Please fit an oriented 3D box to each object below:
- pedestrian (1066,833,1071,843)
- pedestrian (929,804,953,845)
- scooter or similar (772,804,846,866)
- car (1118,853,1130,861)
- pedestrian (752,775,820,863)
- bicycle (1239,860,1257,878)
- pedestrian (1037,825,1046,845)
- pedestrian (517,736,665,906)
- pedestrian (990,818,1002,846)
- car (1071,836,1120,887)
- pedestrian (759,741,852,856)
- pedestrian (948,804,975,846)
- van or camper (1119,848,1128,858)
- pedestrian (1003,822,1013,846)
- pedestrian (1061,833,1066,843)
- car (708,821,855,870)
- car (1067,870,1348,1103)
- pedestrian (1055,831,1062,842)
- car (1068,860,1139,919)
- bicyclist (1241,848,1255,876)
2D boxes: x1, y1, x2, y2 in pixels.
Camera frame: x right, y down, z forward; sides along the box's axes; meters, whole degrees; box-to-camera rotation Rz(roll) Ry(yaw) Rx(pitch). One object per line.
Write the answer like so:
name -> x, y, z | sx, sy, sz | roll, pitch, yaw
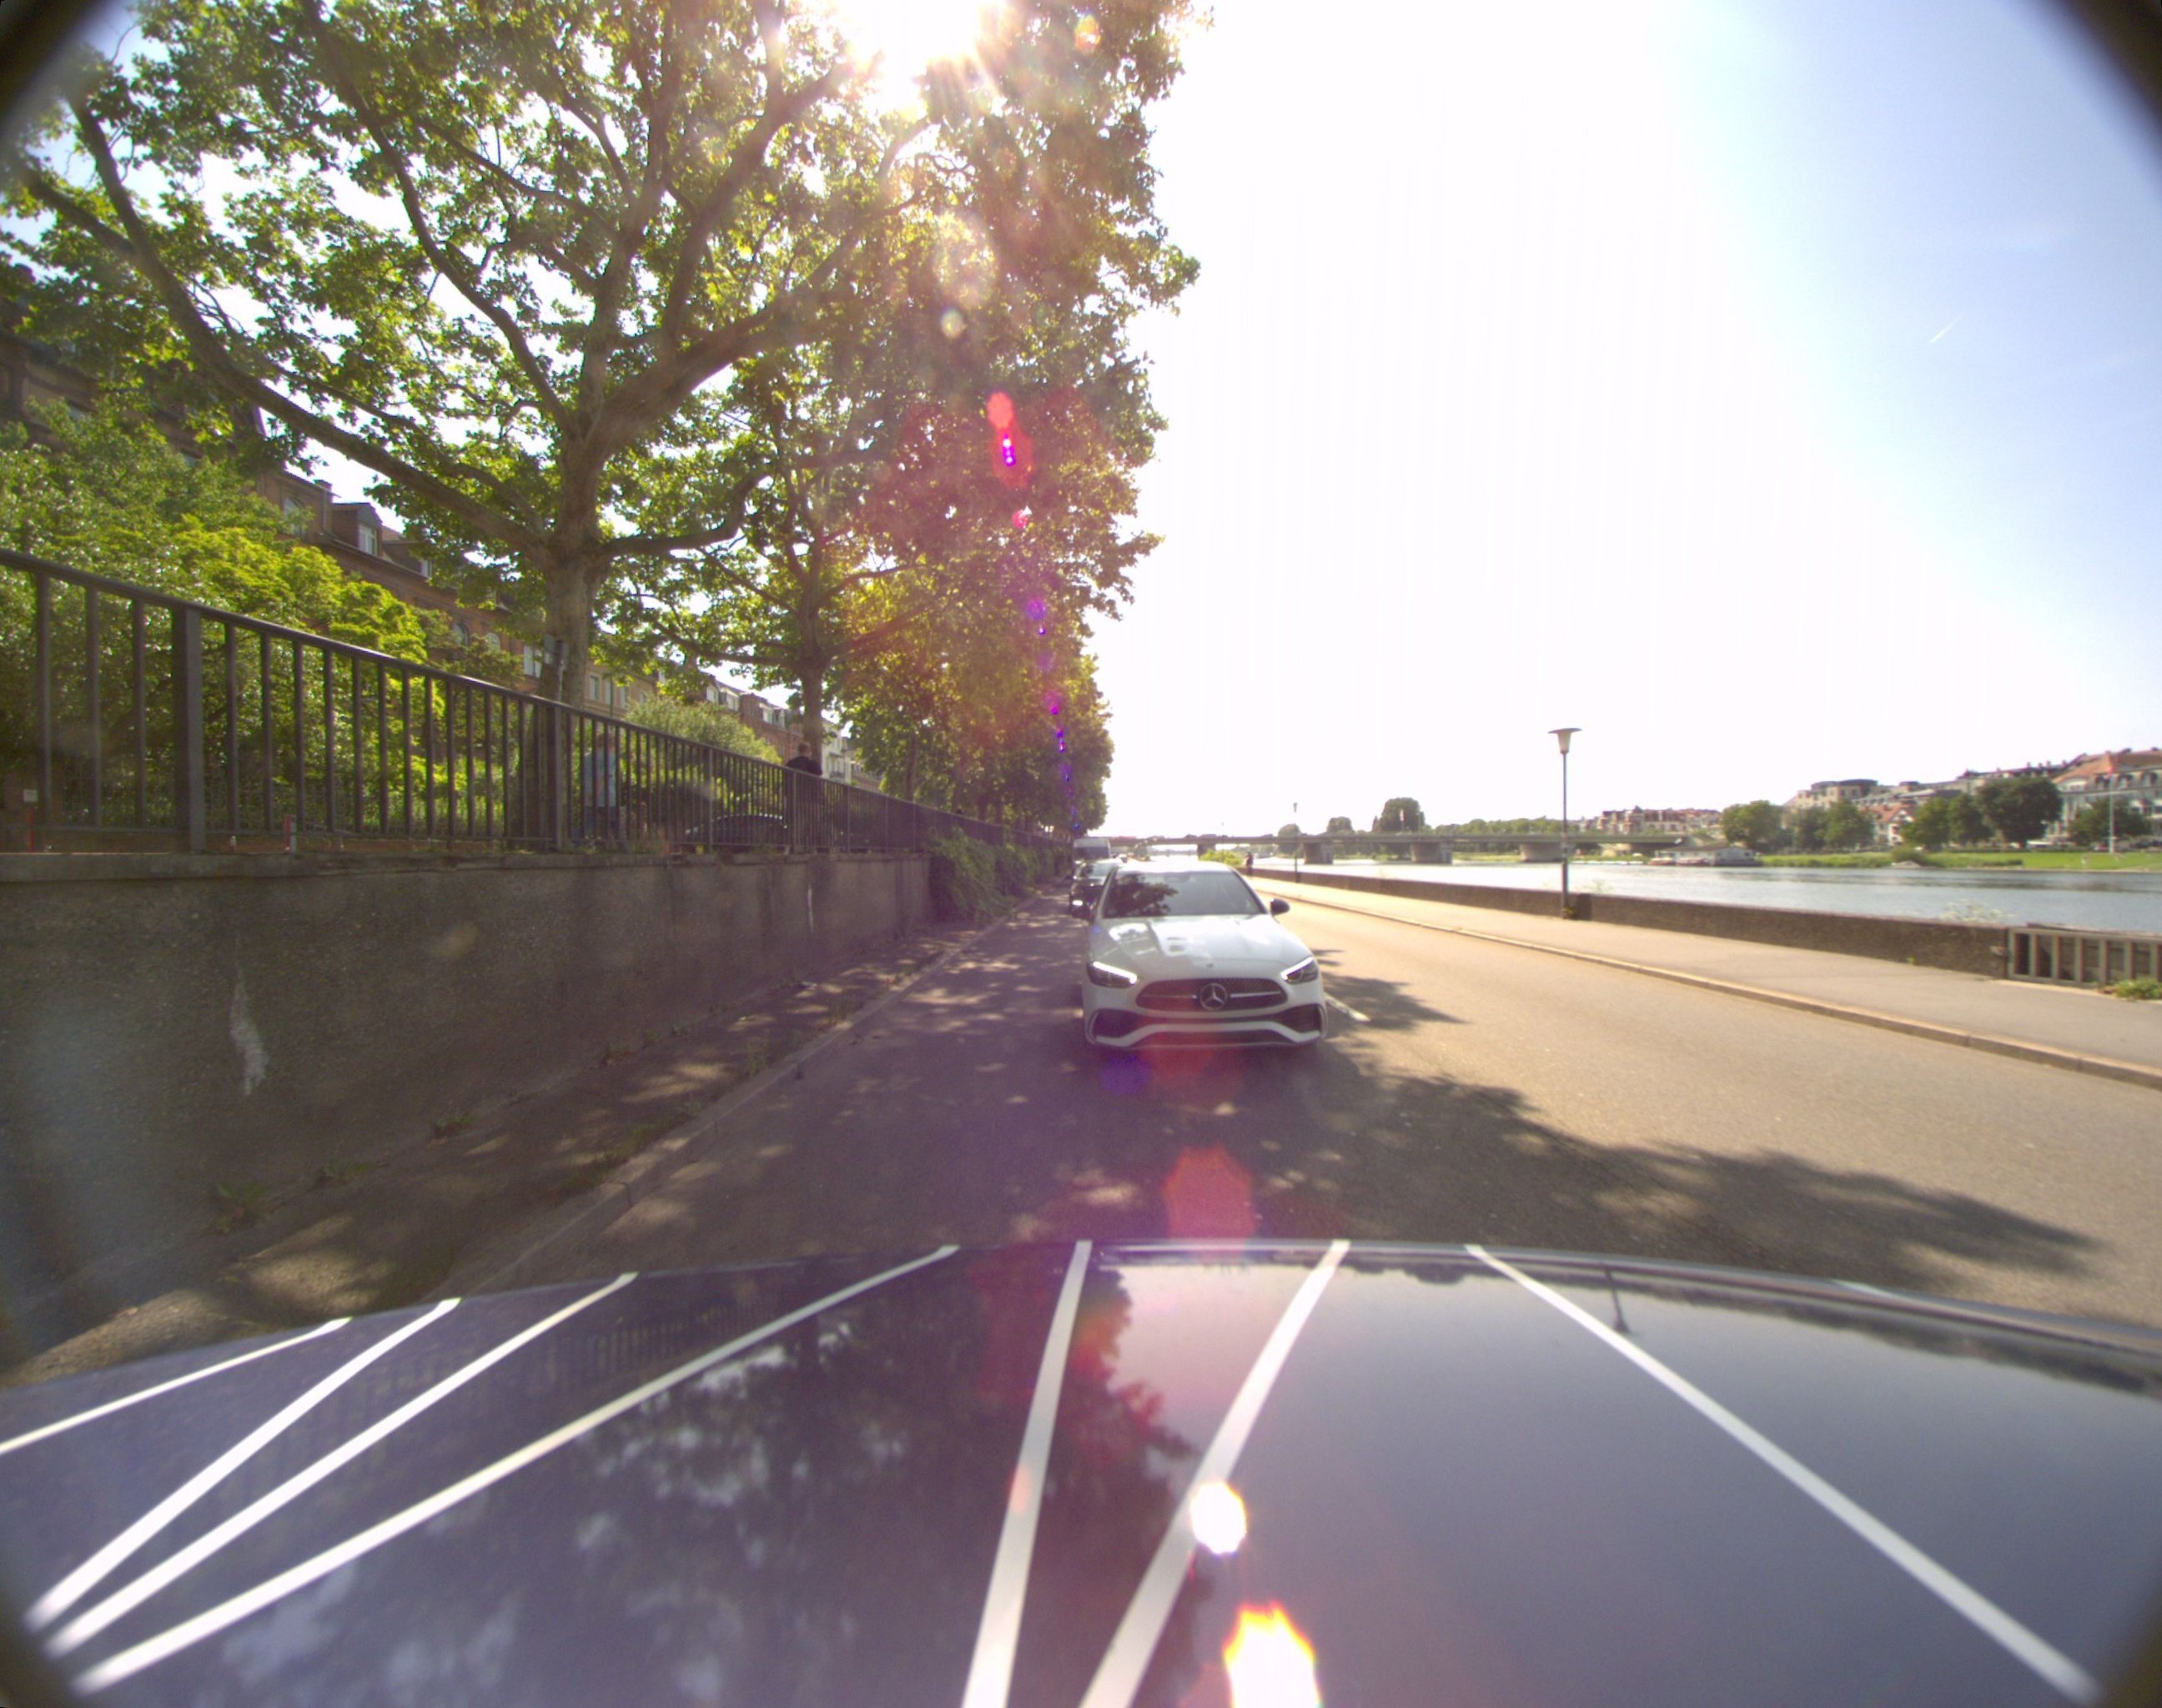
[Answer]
pedestrian -> -1.986, -2.511, 120.804 | 0.666, 1.582, 0.765 | 0, 1, 1
pedestrian -> -4.806, -0.987, 26.128 | 0.645, 1.358, 0.794 | 2, 1, -1
scooter or similar -> -4.752, -0.321, 13.335 | 0.857, 1.020, 1.107 | 2, 1, 0
car -> 7.358, 0.490, 130.187 | 1.736, 1.433, 4.045 | 1, 0, 0
pedestrian -> -4.803, -0.549, 12.413 | 0.682, 1.358, 0.989 | 2, 1, 0
bicycle -> 9.772, 0.867, 44.465 | 0.634, 1.006, 1.986 | 0, 0, 0
pedestrian -> -3.100, -1.480, 59.715 | 0.666, 1.582, 0.651 | 0, 1, 1
pedestrian -> -4.409, -0.277, 6.906 | 0.682, 1.416, 0.949 | 2, 1, 0
pedestrian -> -5.064, -1.292, 45.270 | 0.649, 1.630, 0.626 | 0, 1, -7
car -> 0.715, 0.367, 39.615 | 2.351, 2.429, 6.208 | 0, 0, 0
pedestrian -> -3.994, -0.772, 11.095 | 0.939, 1.570, 1.028 | 2, 1, -1
pedestrian -> -4.053, -0.963, 25.762 | 0.755, 1.358, 0.814 | 2, 1, -1
van or camper -> 10.595, -0.202, 190.612 | 2.082, 2.384, 5.385 | 1, 0, 1
pedestrian -> -4.378, -1.184, 45.493 | 0.586, 1.411, 0.589 | 0, 1, -7
pedestrian -> -2.801, -2.512, 121.686 | 0.738, 1.582, 0.811 | 0, 1, 1
car -> -8.327, -0.238, 21.252 | 3.528, 1.228, 1.515 | 2, 0, 11
car -> 0.896, 0.932, 7.329 | 1.830, 1.411, 4.552 | -2, 0, 1
pedestrian -> -2.662, -2.060, 89.629 | 0.713, 1.236, 0.742 | 0, 1, 1
car -> 0.569, 0.925, 21.434 | 1.756, 1.385, 4.619 | -1, 0, 0
bicyclist -> 9.770, 0.459, 44.460 | 0.639, 1.664, 0.871 | 0, 1, 0
